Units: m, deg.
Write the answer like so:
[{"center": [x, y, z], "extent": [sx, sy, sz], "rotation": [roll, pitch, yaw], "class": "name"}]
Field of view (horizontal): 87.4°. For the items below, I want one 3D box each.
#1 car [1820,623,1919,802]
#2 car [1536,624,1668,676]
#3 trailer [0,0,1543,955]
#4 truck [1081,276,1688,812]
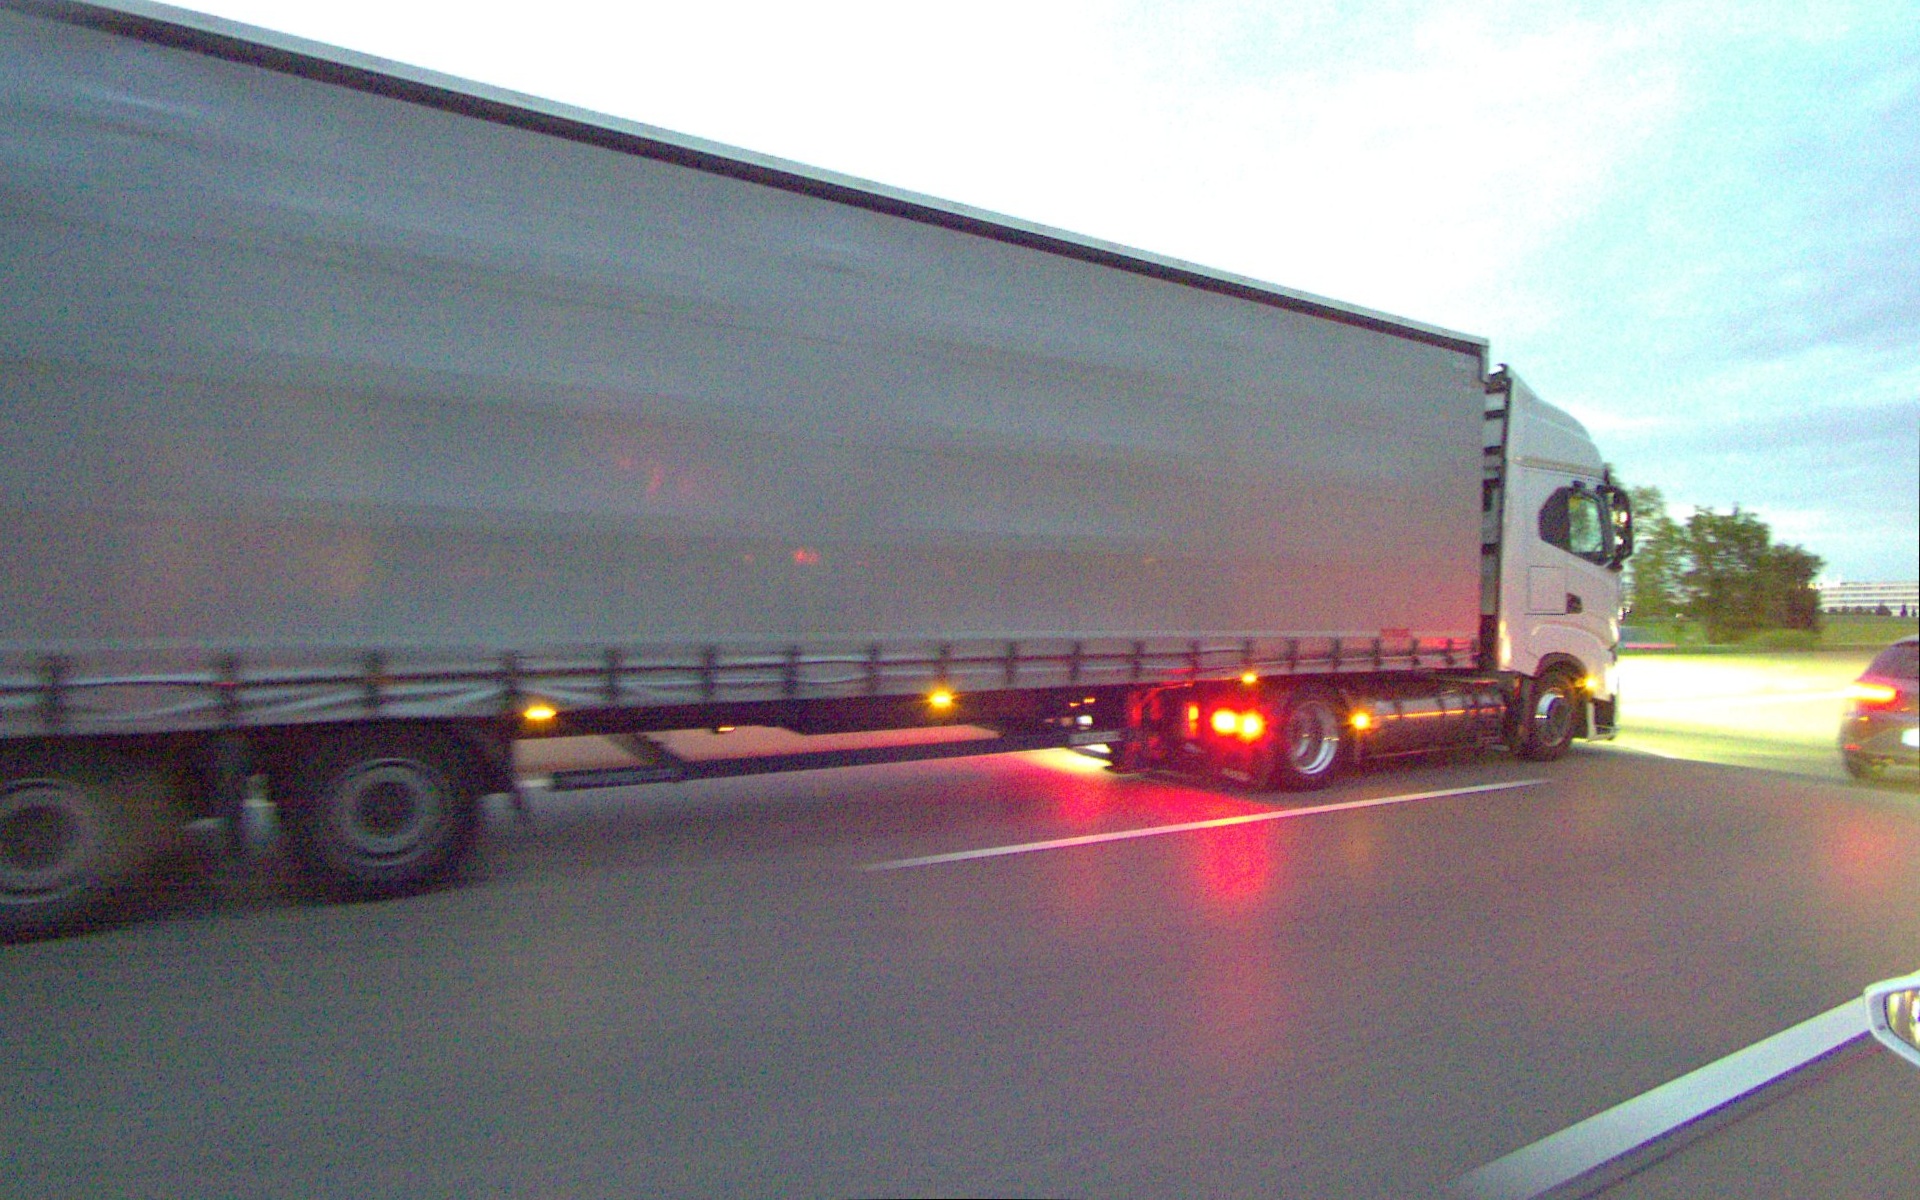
[{"center": [10.212, 1.038, 9.532], "extent": [4.672, 1.491, 1.714], "rotation": [2, 0, -31], "class": "car"}, {"center": [17.986, 1.394, 28.116], "extent": [3.603, 1.306, 1.646], "rotation": [2, 0, -31], "class": "car"}, {"center": [-1.440, -0.527, 7.006], "extent": [14.354, 4.139, 2.781], "rotation": [2, -2, -30], "class": "trailer"}, {"center": [4.540, -0.330, 10.486], "extent": [6.031, 4.146, 2.765], "rotation": [2, -2, -30], "class": "truck"}]
